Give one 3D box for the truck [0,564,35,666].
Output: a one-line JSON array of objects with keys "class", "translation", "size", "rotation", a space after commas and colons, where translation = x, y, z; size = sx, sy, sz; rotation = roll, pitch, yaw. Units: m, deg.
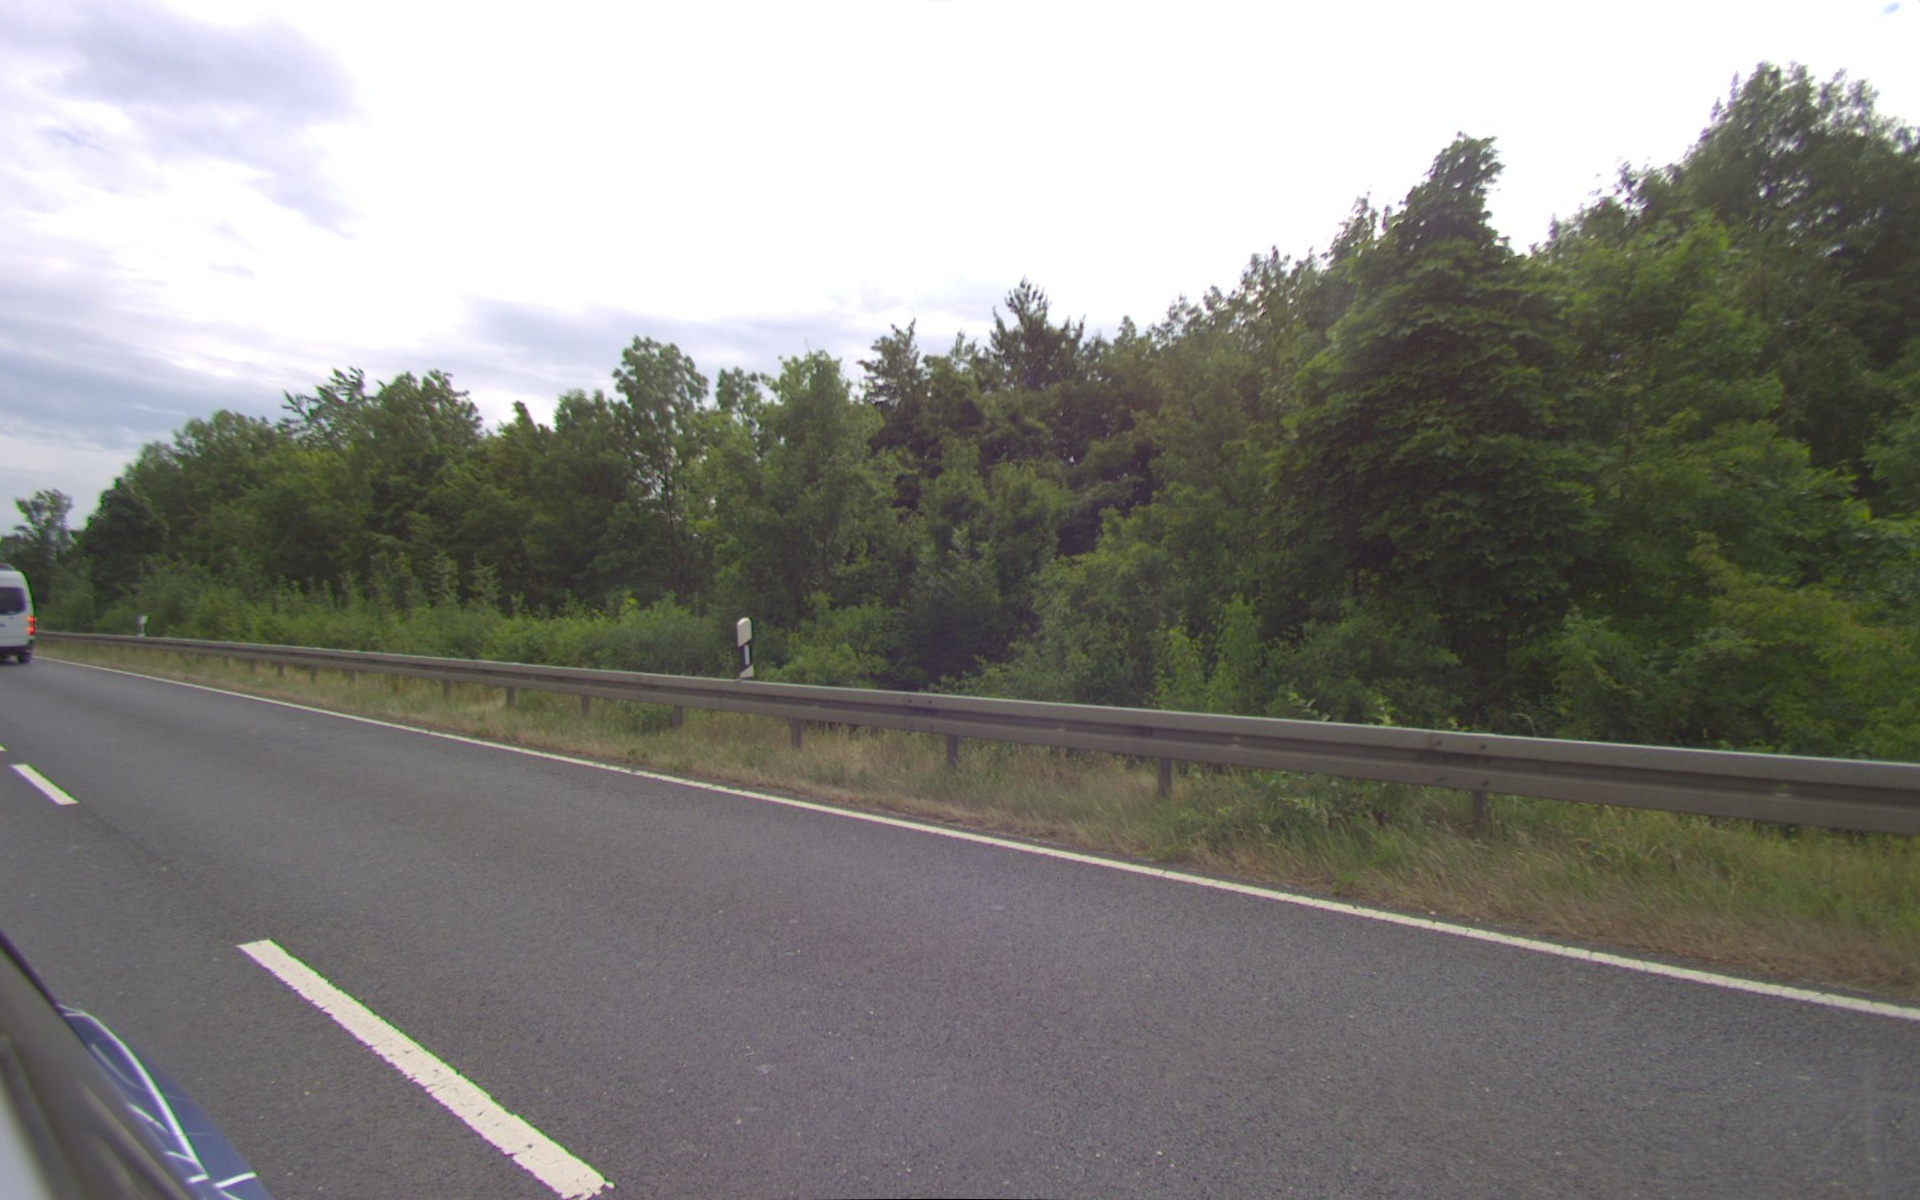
[{"class": "truck", "translation": [-29.004, 0.455, 29.624], "size": [7.003, 2.763, 2.044], "rotation": [-1, 0, 41]}]
